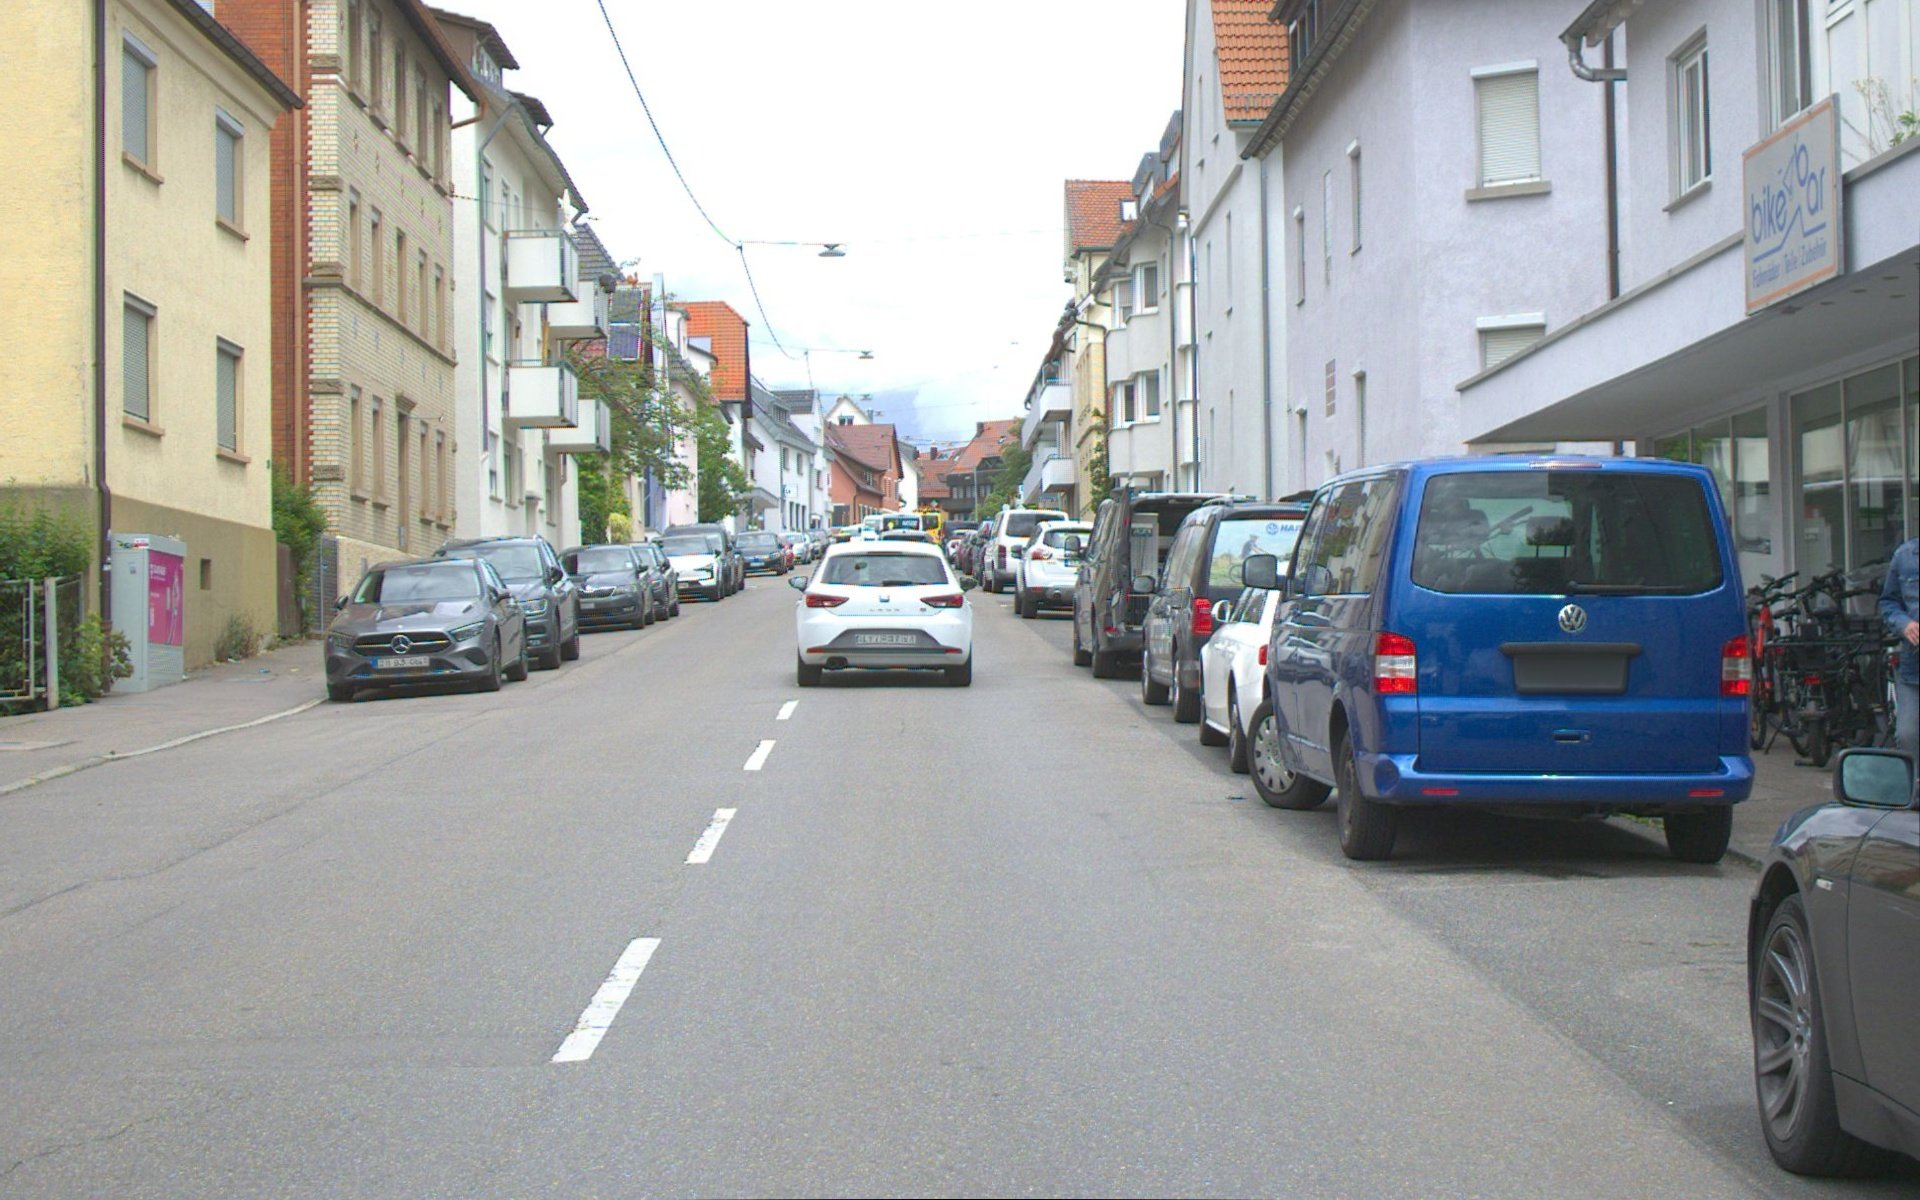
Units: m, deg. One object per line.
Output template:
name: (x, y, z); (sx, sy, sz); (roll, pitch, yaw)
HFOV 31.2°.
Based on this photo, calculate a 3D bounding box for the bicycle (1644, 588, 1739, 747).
bicycle: (5.456, 0.489, 25.609); (0.250, 1.109, 1.465); (-1, 1, 29)

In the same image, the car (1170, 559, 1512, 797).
car: (2.523, 0.460, 23.799); (1.714, 1.431, 4.640); (1, 1, -2)

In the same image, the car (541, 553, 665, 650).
car: (-6.044, -0.007, 58.579); (1.642, 1.468, 4.179); (-4, 1, -1)

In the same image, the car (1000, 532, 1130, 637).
car: (1.782, -0.304, 59.790); (1.940, 1.687, 4.001); (2, 1, -2)

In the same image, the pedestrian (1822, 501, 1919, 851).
pedestrian: (4.830, 0.368, 17.127); (0.872, 1.719, 0.618); (0, 1, 34)

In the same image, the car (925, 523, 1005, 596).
car: (0.132, -1.180, 98.699); (1.993, 2.007, 4.001); (-1, 1, -4)

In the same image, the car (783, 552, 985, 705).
car: (-0.773, 0.246, 35.068); (1.940, 1.434, 4.000); (0, 1, -1)

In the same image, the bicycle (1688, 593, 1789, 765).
bicycle: (5.397, 0.534, 23.802); (0.250, 1.109, 1.465); (-1, 1, 29)

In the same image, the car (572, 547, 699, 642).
car: (-5.957, -0.131, 63.524); (1.993, 1.645, 4.000); (-1, 1, -1)

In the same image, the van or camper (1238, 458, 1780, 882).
van or camper: (2.683, 0.267, 17.986); (1.926, 1.919, 4.831); (0, 1, -2)

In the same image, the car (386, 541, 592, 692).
car: (-5.846, 0.156, 43.178); (1.993, 1.645, 4.554); (-4, 1, -2)

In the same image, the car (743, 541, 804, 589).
car: (-6.628, -1.276, 122.706); (1.993, 1.645, 4.179); (-1, 1, -1)

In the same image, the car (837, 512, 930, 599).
car: (-1.847, -1.067, 82.065); (2.152, 2.007, 4.000); (0, 1, -2)

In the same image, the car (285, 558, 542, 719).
car: (-5.832, 0.370, 37.173); (1.993, 1.467, 4.244); (-4, 1, 0)

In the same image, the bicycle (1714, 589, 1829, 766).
bicycle: (5.475, 0.505, 23.144); (0.339, 1.109, 1.465); (-1, 1, 29)

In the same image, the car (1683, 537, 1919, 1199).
car: (2.988, 0.645, 6.753); (1.993, 1.512, 4.892); (1, 1, -1)

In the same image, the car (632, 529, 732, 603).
car: (-6.369, -0.801, 79.137); (1.993, 1.645, 4.000); (-1, 1, -1)

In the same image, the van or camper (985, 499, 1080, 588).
van or camper: (1.691, -1.356, 81.881); (1.940, 2.047, 4.564); (0, 1, -3)

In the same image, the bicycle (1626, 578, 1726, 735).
bicycle: (5.503, 0.419, 26.373); (0.250, 1.156, 1.464); (-1, 0, 31)

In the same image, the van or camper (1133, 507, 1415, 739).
van or camper: (2.639, 0.136, 29.950); (1.871, 1.822, 4.681); (1, 1, -2)

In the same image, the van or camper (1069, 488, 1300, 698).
van or camper: (2.357, -0.127, 37.587); (1.993, 2.058, 5.945); (1, 1, -1)
